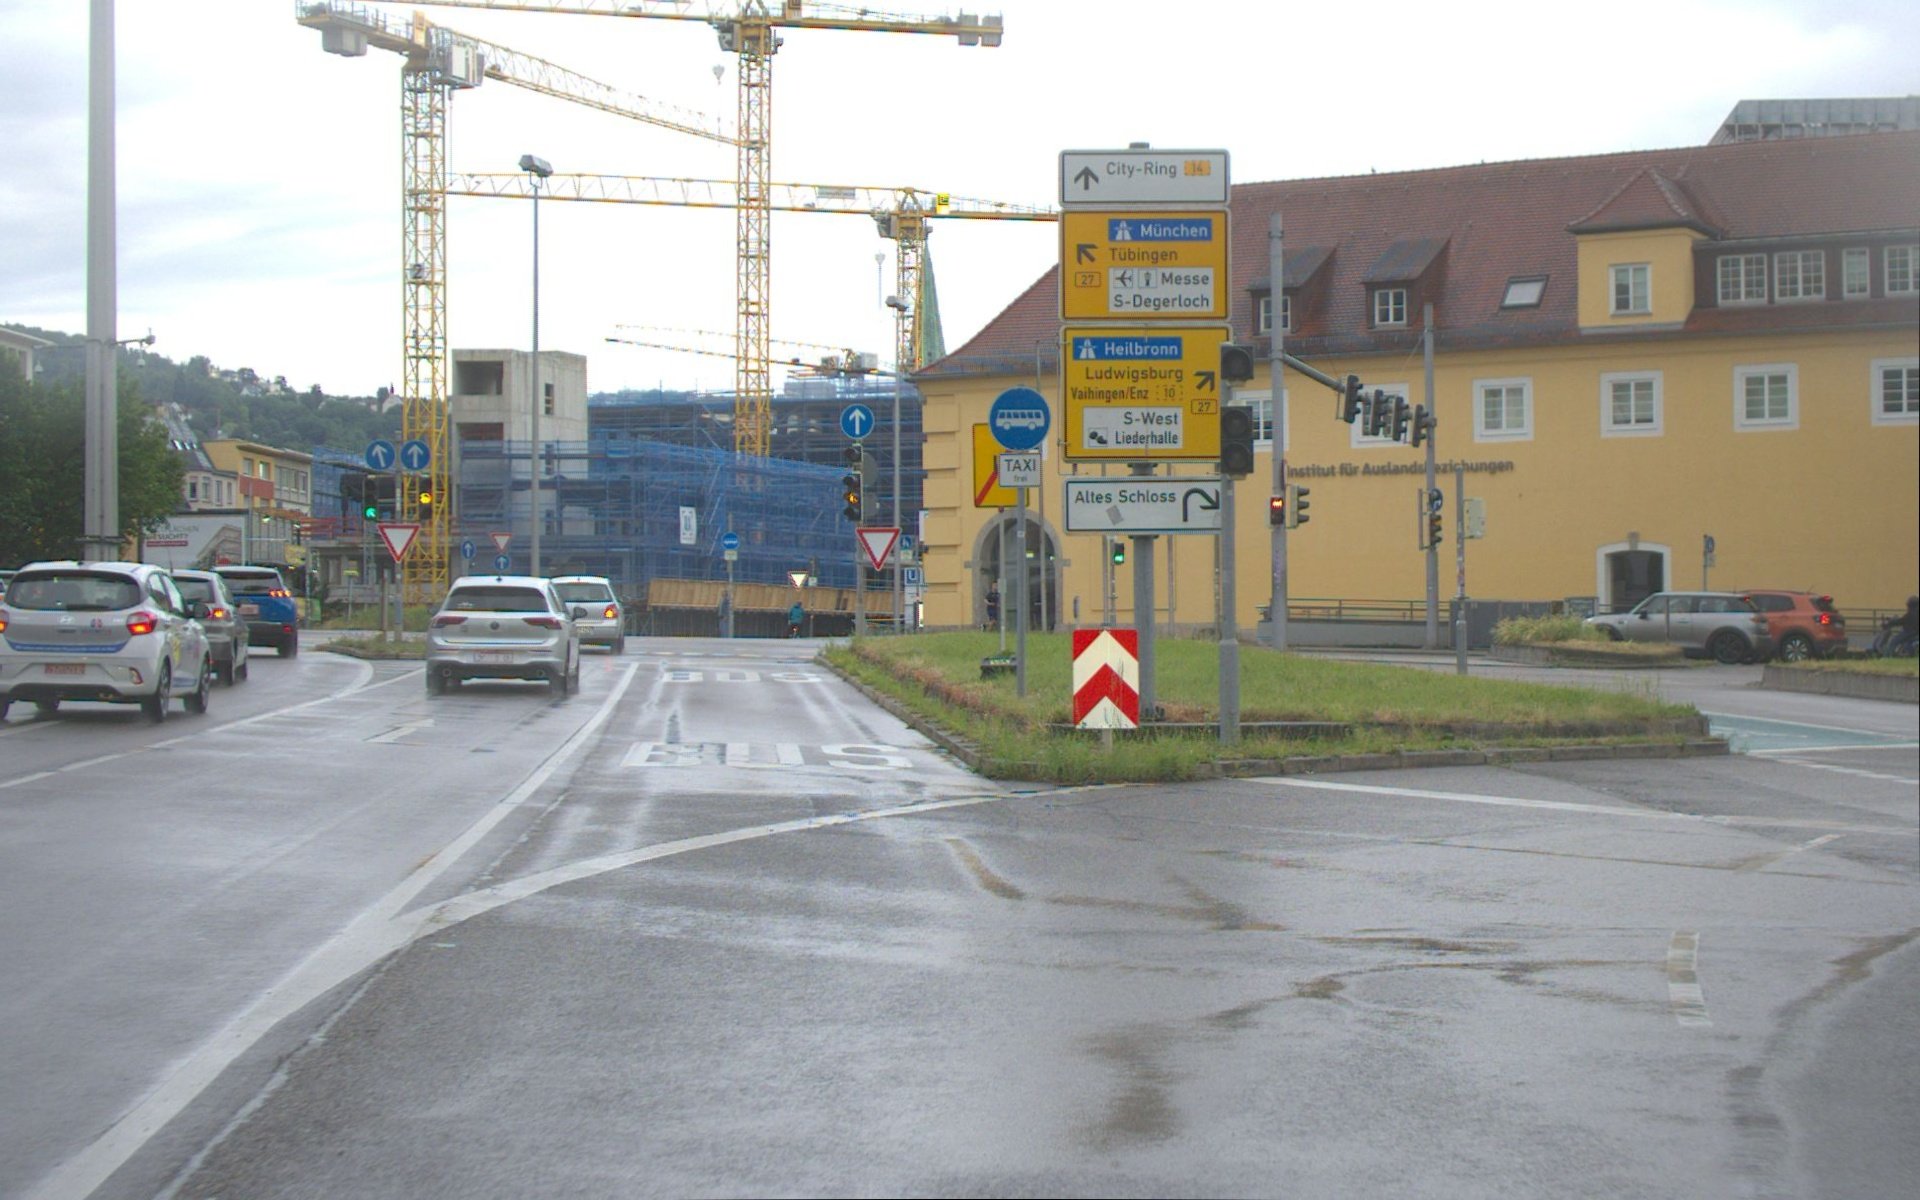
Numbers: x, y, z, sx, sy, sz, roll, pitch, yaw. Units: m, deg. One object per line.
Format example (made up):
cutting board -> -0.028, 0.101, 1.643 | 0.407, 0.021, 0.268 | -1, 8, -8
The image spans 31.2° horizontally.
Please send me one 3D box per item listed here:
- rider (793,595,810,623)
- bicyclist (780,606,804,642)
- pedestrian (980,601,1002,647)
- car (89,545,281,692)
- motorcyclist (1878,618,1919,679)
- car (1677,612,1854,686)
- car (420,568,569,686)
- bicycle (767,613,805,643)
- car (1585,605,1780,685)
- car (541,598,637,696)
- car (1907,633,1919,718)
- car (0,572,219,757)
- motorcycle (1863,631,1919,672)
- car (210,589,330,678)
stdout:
rider -> -6.035, 0.352, 130.845 | 0.619, 1.035, 0.533 | 1, -3, 0
bicyclist -> -6.045, 0.865, 123.710 | 0.703, 1.271, 0.635 | 2, -3, -17
pedestrian -> 0.936, 0.713, 102.689 | 0.456, 1.363, 0.443 | -1, -3, 37
car -> -9.849, 0.274, 43.913 | 1.716, 1.722, 3.494 | 1, -2, -2
motorcyclist -> 20.282, 1.048, 73.783 | 1.076, 1.269, 0.691 | 0, -3, 19
car -> 16.955, 1.029, 72.378 | 3.403, 1.467, 1.650 | 0, -3, 22
car -> -5.767, 0.357, 42.814 | 1.444, 1.355, 2.411 | 1, -2, 1
bicycle -> -6.270, 1.020, 123.969 | 0.880, 1.006, 1.993 | 2, -3, -17
car -> 14.179, 0.888, 67.442 | 3.406, 1.477, 1.832 | 0, -3, 24
car -> -7.120, 0.879, 65.789 | 1.667, 1.736, 3.288 | 2, 0, -8
car -> 21.688, 1.550, 68.920 | 4.813, 1.703, 1.995 | -1, -3, 41
car -> -8.317, 0.652, 32.977 | 1.880, 1.647, 3.458 | 1, -2, -5
motorcycle -> 20.418, 1.112, 73.774 | 1.966, 0.850, 0.545 | 0, -3, 21
car -> -11.664, 0.588, 58.248 | 1.493, 1.365, 3.033 | 1, -2, -2
